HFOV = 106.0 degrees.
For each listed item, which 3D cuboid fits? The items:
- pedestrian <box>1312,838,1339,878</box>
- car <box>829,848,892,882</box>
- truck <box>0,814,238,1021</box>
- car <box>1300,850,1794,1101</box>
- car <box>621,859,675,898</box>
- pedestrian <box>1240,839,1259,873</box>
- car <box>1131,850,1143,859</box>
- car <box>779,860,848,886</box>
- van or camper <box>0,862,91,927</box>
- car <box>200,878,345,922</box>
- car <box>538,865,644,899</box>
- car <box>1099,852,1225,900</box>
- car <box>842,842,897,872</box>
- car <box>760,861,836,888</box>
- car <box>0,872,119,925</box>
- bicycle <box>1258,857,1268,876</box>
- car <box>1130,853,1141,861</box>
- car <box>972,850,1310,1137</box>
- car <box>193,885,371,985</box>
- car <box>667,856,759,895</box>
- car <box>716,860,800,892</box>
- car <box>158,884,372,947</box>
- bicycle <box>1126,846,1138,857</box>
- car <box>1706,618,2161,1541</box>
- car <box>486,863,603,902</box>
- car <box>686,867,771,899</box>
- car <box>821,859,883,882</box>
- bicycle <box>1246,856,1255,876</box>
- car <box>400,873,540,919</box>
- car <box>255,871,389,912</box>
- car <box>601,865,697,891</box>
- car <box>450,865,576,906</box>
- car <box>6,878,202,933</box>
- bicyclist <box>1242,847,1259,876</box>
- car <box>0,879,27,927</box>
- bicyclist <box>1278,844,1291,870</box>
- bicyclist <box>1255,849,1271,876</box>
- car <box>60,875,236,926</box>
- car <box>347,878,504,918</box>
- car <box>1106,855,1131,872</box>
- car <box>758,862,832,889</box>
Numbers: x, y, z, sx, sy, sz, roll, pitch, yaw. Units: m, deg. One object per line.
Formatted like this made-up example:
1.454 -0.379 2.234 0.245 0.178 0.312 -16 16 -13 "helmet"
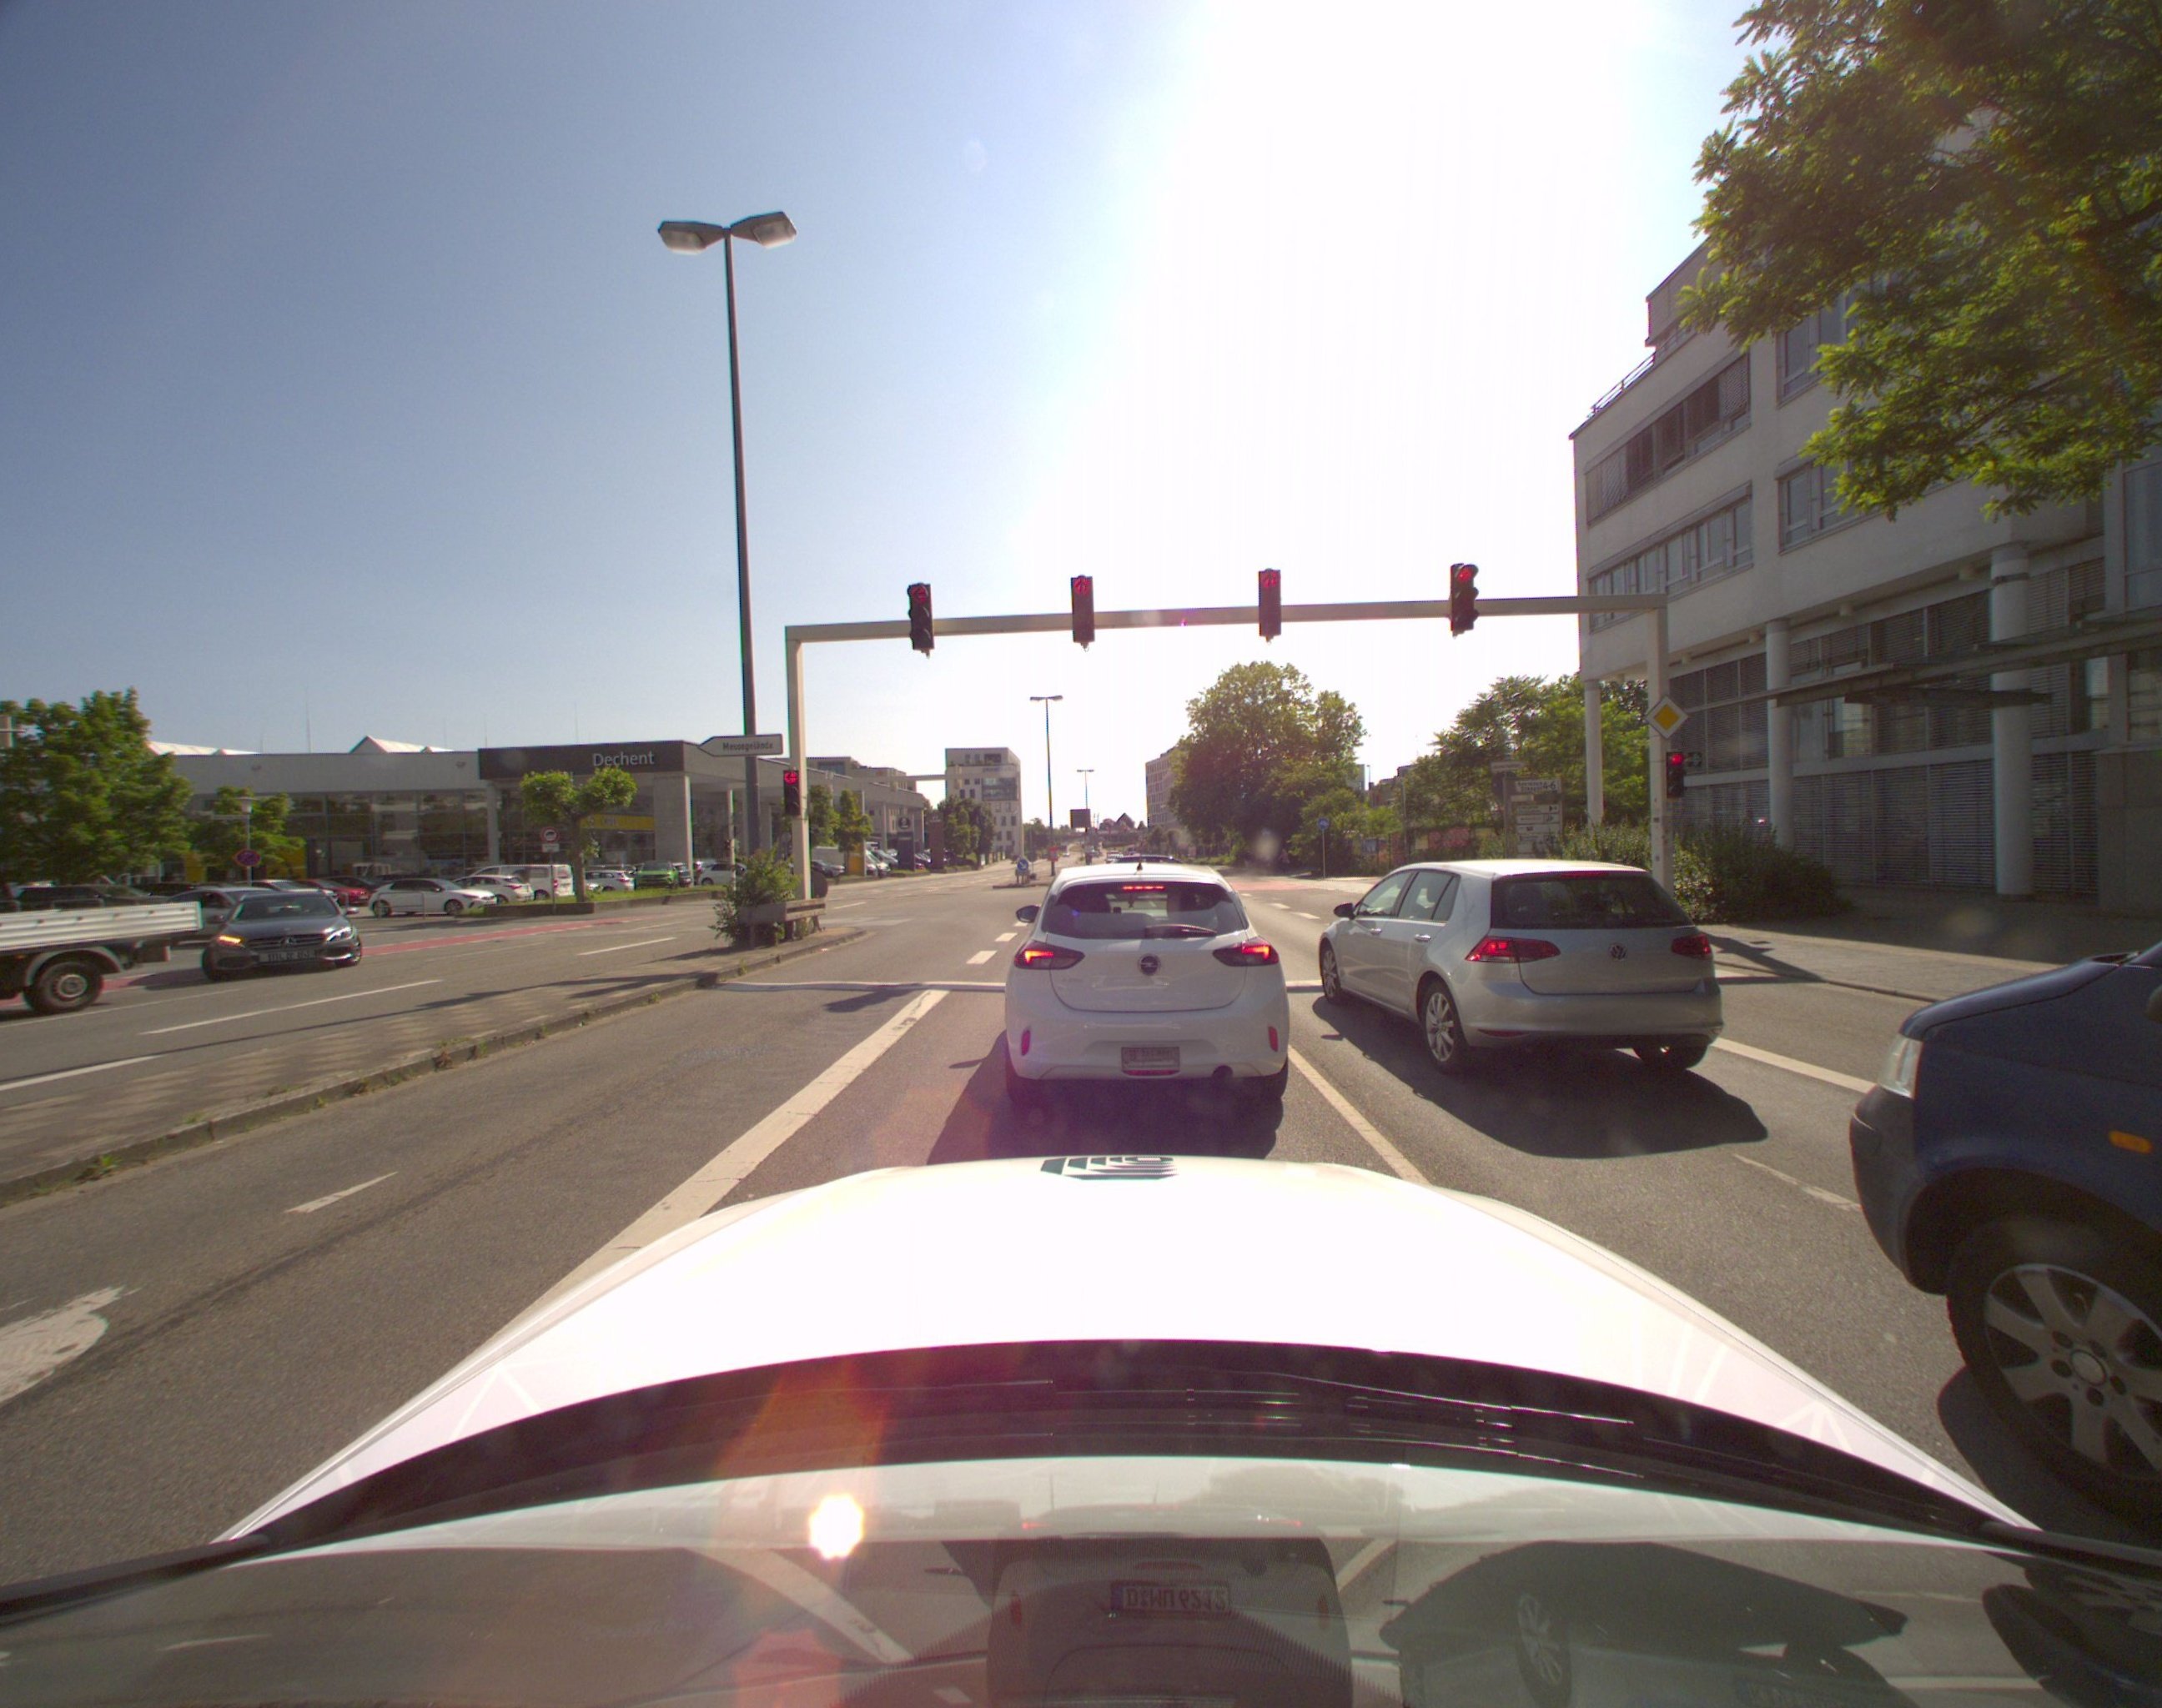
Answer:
12.425 0.194 41.447 1.023 2.013 1.039 -2 0 1 "pedestrian"
-18.470 0.936 68.340 4.469 2.684 2.134 -2 0 10 "car"
-14.512 0.869 9.418 2.346 2.545 6.445 -5 0 4 "truck"
3.320 0.740 6.856 1.802 1.429 3.998 -2 -1 -1 "car"
-21.252 1.217 39.944 1.915 1.733 3.258 -2 -1 -35 "car"
11.502 0.140 55.702 1.023 2.238 1.039 -2 0 1 "pedestrian"
8.933 0.144 130.386 1.799 1.386 4.001 0 -1 2 "car"
-19.735 1.363 60.143 4.344 1.696 1.999 -2 0 -1 "car"
-41.946 1.576 31.327 4.711 2.400 1.995 -2 0 -8 "van or camper"
-36.634 2.061 37.003 4.348 1.696 1.997 -2 0 -4 "car"
-26.156 1.495 43.572 4.352 1.591 1.996 -2 0 -7 "car"
2.746 0.731 28.125 3.982 1.442 1.996 -2 0 -6 "car"
-19.095 0.267 73.675 4.334 2.601 2.004 -2 0 6 "car"
-18.981 1.351 54.695 4.343 1.696 1.999 -2 0 -1 "car"
-43.161 1.826 33.686 3.984 2.013 1.995 -2 0 -8 "car"
11.303 0.753 50.531 0.372 1.147 1.034 0 -1 0 "bicycle"
9.556 0.540 142.347 1.799 1.386 4.001 0 -1 2 "car"
0.379 0.753 6.396 1.773 1.494 4.001 -2 0 2 "car"
-14.992 1.397 15.539 1.971 1.427 4.533 -1 0 -39 "car"
-19.258 1.092 42.765 3.859 1.837 1.999 -2 0 -1 "car"
-19.602 1.315 49.570 4.284 1.765 1.999 -2 0 -1 "car"
-22.073 1.645 22.148 3.892 1.438 1.776 -2 0 -2 "car"
9.718 -0.461 155.463 1.986 2.157 4.001 -2 0 1 "bicycle"
3.221 0.443 0.484 1.986 1.948 4.892 -2 -1 2 "car"
-26.650 1.382 40.577 4.353 1.696 1.995 -2 0 -7 "car"
-20.229 1.657 46.864 3.981 1.599 1.996 -2 0 -6 "car"
-18.503 1.335 65.889 4.334 1.696 2.004 -2 0 6 "car"
10.826 0.768 52.003 0.371 1.216 1.154 0 0 2 "bicycle"
-26.205 1.777 35.047 4.348 1.696 1.997 -2 0 -4 "car"
-36.618 1.779 39.402 4.352 1.696 1.995 -2 0 -7 "car"
-24.702 1.374 46.667 4.352 1.268 1.995 -3 -2 -7 "car"
-26.519 1.441 38.153 4.353 1.696 1.995 -2 0 -7 "car"
-35.205 1.822 29.457 4.348 1.696 1.997 -2 0 -4 "car"
10.809 0.483 52.005 0.876 1.772 0.864 -2 0 1 "bicyclist"
-40.601 1.814 28.319 4.371 1.696 1.987 -2 0 -20 "car"
12.795 0.172 51.288 0.650 1.637 0.660 0 -1 1 "bicyclist"
11.272 0.513 50.538 0.687 1.643 0.775 -2 0 -7 "bicyclist"
-36.489 1.781 31.959 4.348 1.696 1.997 -2 0 -4 "car"
-25.537 1.680 31.848 4.348 1.300 1.997 -2 0 -4 "car"
3.095 0.799 67.635 1.986 1.331 4.002 0 -1 2 "car"
-19.956 1.463 56.947 4.344 1.696 1.999 -2 0 -1 "car"
